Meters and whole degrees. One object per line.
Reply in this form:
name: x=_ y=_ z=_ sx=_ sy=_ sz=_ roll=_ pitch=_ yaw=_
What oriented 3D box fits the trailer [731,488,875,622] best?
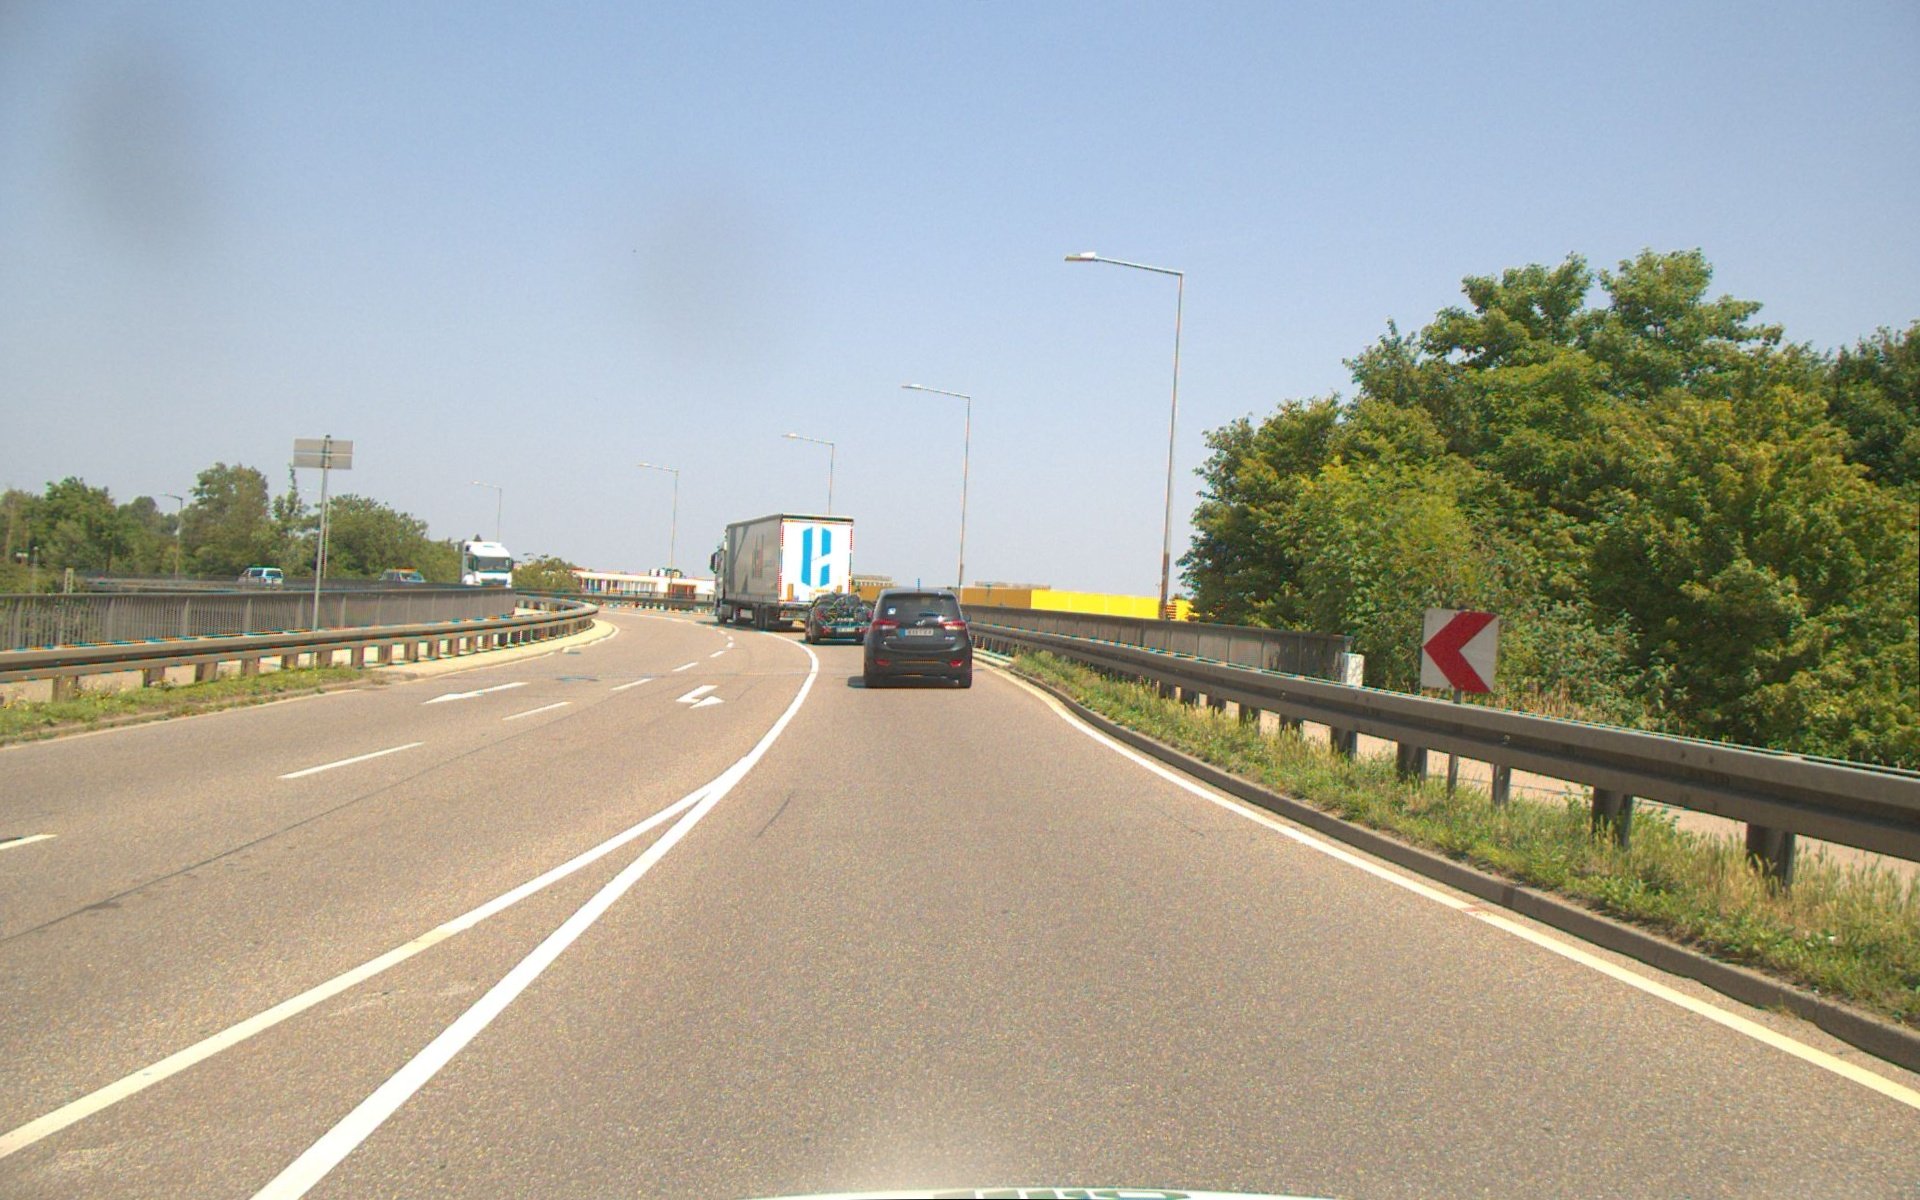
trailer: x=-6.116 y=-1.635 z=62.079 sx=3.510 sy=4.460 sz=11.397 roll=2 pitch=1 yaw=-15

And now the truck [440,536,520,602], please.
truck: x=-30.916 y=-1.998 z=106.354 sx=2.688 sy=4.061 sz=6.099 roll=2 pitch=1 yaw=-39

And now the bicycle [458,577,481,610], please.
bicycle: x=-27.722 y=-0.382 z=93.381 sx=0.691 sy=1.833 sz=2.158 roll=2 pitch=0 yaw=-31

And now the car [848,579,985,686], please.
car: x=-0.803 y=0.489 z=27.799 sx=1.885 sy=1.601 sz=3.885 roll=2 pitch=1 yaw=-7

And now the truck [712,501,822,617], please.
truck: x=-8.181 y=-1.673 z=69.372 sx=3.514 sy=4.518 sz=6.488 roll=2 pitch=0 yaw=-16

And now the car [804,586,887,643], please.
car: x=-3.279 y=0.371 z=46.746 sx=1.974 sy=1.454 sz=3.769 roll=2 pitch=1 yaw=-9

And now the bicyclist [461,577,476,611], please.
bicyclist: x=-27.776 y=-0.341 z=93.474 sx=0.618 sy=1.919 sz=0.704 roll=2 pitch=0 yaw=-33

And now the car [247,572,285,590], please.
car: x=-59.647 y=-1.642 z=142.118 sx=3.549 sy=1.410 sz=1.555 roll=2 pitch=1 yaw=41
